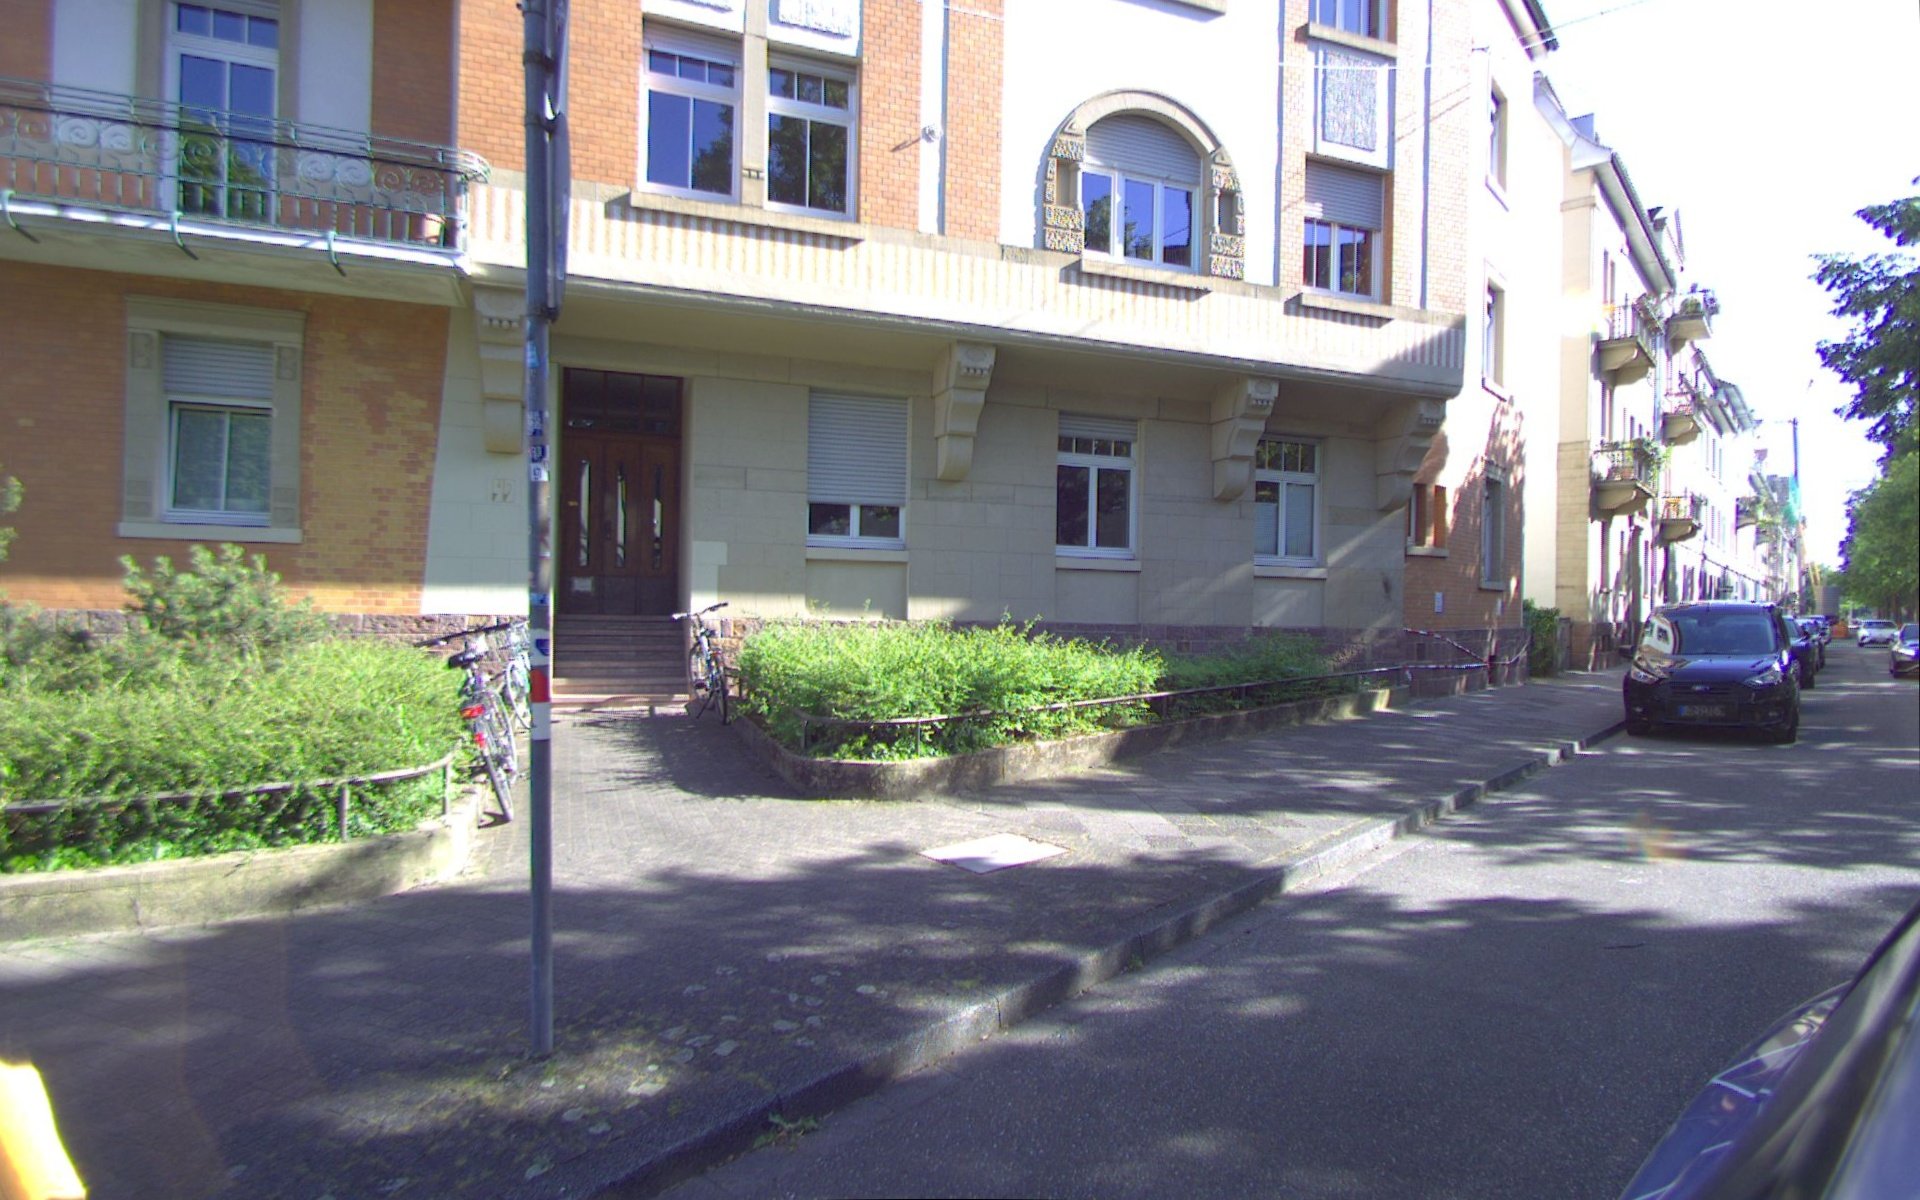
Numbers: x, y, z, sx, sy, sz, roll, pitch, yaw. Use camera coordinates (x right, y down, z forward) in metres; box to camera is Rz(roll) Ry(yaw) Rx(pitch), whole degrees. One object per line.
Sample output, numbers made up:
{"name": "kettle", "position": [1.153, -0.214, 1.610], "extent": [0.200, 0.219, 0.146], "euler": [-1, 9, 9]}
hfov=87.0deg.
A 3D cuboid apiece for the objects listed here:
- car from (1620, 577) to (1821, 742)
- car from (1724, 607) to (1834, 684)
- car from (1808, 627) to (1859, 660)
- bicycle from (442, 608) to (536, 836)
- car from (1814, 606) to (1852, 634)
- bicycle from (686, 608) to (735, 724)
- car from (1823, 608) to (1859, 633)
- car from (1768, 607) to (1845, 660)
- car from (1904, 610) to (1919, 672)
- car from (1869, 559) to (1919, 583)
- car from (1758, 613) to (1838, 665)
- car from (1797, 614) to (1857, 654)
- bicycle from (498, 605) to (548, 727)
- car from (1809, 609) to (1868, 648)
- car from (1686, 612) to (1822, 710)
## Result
{"name": "car", "position": [10.485, 0.745, 13.830], "extent": [1.799, 1.895, 4.208], "euler": [-4, -3, 41]}
{"name": "car", "position": [19.557, 1.026, 24.207], "extent": [1.861, 1.665, 4.427], "euler": [-2, -2, 39]}
{"name": "car", "position": [41.887, 2.034, 48.491], "extent": [1.768, 1.450, 4.225], "euler": [-1, -1, 42]}
{"name": "bicycle", "position": [-2.966, 0.657, 6.481], "extent": [0.380, 1.174, 2.234], "euler": [1, 0, -21]}
{"name": "car", "position": [51.651, 1.151, 59.850], "extent": [1.599, 1.511, 3.905], "euler": [1, 1, 43]}
{"name": "bicycle", "position": [-2.597, 0.639, 10.465], "extent": [0.265, 1.074, 1.567], "euler": [1, 0, -21]}
{"name": "car", "position": [54.135, 1.219, 62.203], "extent": [1.605, 1.438, 4.501], "euler": [1, 0, 40]}
{"name": "car", "position": [27.625, 1.048, 33.037], "extent": [1.803, 1.583, 4.257], "euler": [1, 0, 40]}
{"name": "car", "position": [25.649, 1.069, 26.143], "extent": [1.788, 1.538, 3.936], "euler": [1, 0, 44]}
{"name": "car", "position": [73.904, -2.254, 78.979], "extent": [1.666, 1.546, 4.106], "euler": [1, -4, -18]}
{"name": "car", "position": [24.457, 1.098, 29.493], "extent": [1.589, 1.433, 3.575], "euler": [-2, -2, 43]}
{"name": "car", "position": [34.505, 1.318, 40.249], "extent": [1.691, 1.487, 3.944], "euler": [-1, -2, 42]}
{"name": "bicycle", "position": [-4.306, 0.605, 10.022], "extent": [0.380, 1.074, 1.687], "euler": [1, 0, -21]}
{"name": "car", "position": [37.605, 1.200, 43.354], "extent": [1.765, 1.572, 4.121], "euler": [-2, -2, 41]}
{"name": "car", "position": [14.340, 1.029, 18.207], "extent": [1.643, 1.557, 3.940], "euler": [-3, -3, 41]}
